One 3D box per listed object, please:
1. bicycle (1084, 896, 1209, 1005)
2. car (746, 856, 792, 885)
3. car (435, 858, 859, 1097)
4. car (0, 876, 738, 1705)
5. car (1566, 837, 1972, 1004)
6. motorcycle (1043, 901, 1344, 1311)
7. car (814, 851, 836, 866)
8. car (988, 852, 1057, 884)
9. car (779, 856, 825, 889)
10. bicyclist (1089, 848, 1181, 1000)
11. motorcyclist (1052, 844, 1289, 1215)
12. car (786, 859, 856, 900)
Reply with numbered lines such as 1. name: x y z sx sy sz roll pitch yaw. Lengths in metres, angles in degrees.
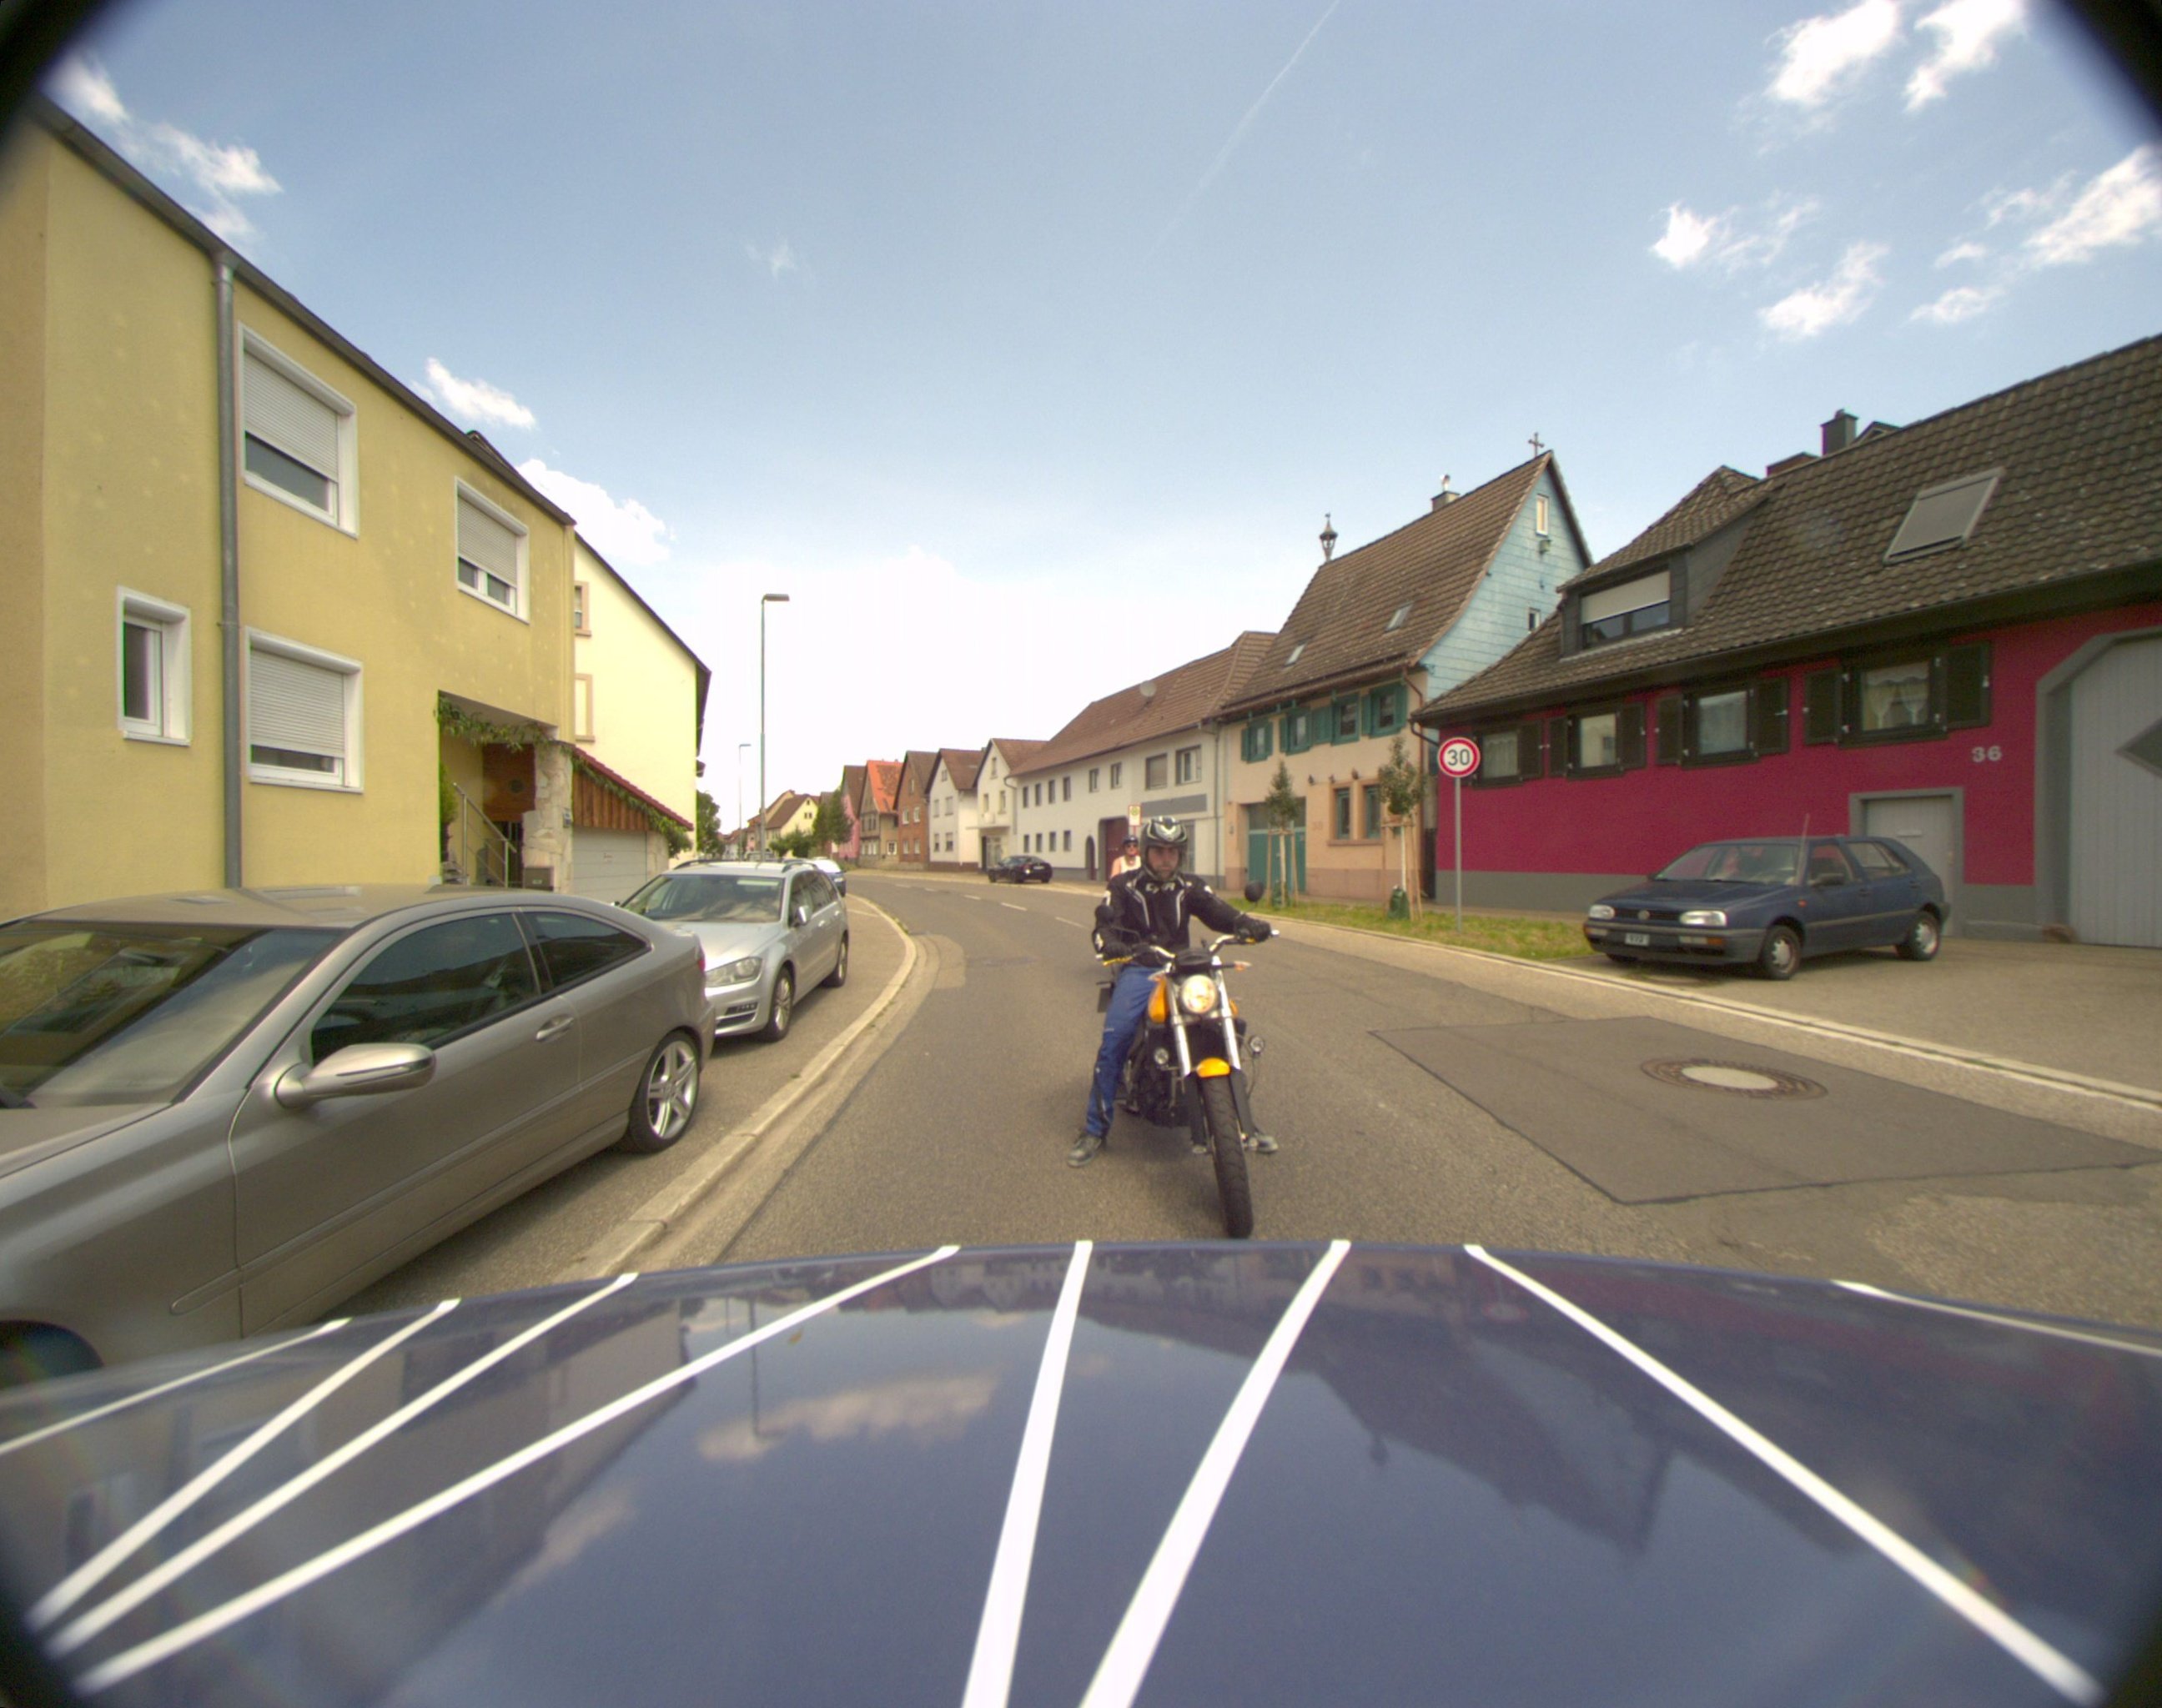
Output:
1. bicycle: 0.701 1.056 8.901 0.934 1.005 1.923 -2 0 -11
2. car: -18.947 0.976 46.056 1.669 1.638 3.989 -3 1 -35
3. car: -3.503 0.852 7.231 1.890 1.521 4.333 2 0 -6
4. car: -2.981 0.916 2.403 1.775 1.392 4.423 2 1 0
5. car: 7.704 0.602 8.544 3.983 1.456 1.718 -2 1 -20
6. motorcycle: 0.405 0.941 3.676 0.985 1.234 2.103 -3 1 1
7. car: -27.334 0.448 81.024 1.687 1.521 3.491 -2 2 -26
8. car: -2.976 0.677 37.824 1.812 1.412 4.541 -2 0 -26
9. car: -13.750 0.924 37.331 1.776 1.520 3.993 -1 -1 -25
10. bicyclist: 0.626 0.789 9.027 0.910 1.679 0.760 -2 2 -10
11. motorcyclist: 0.399 0.768 3.696 1.000 1.591 0.799 -1 2 1
12. car: -10.305 0.932 29.922 1.731 1.378 3.989 -1 2 -32
